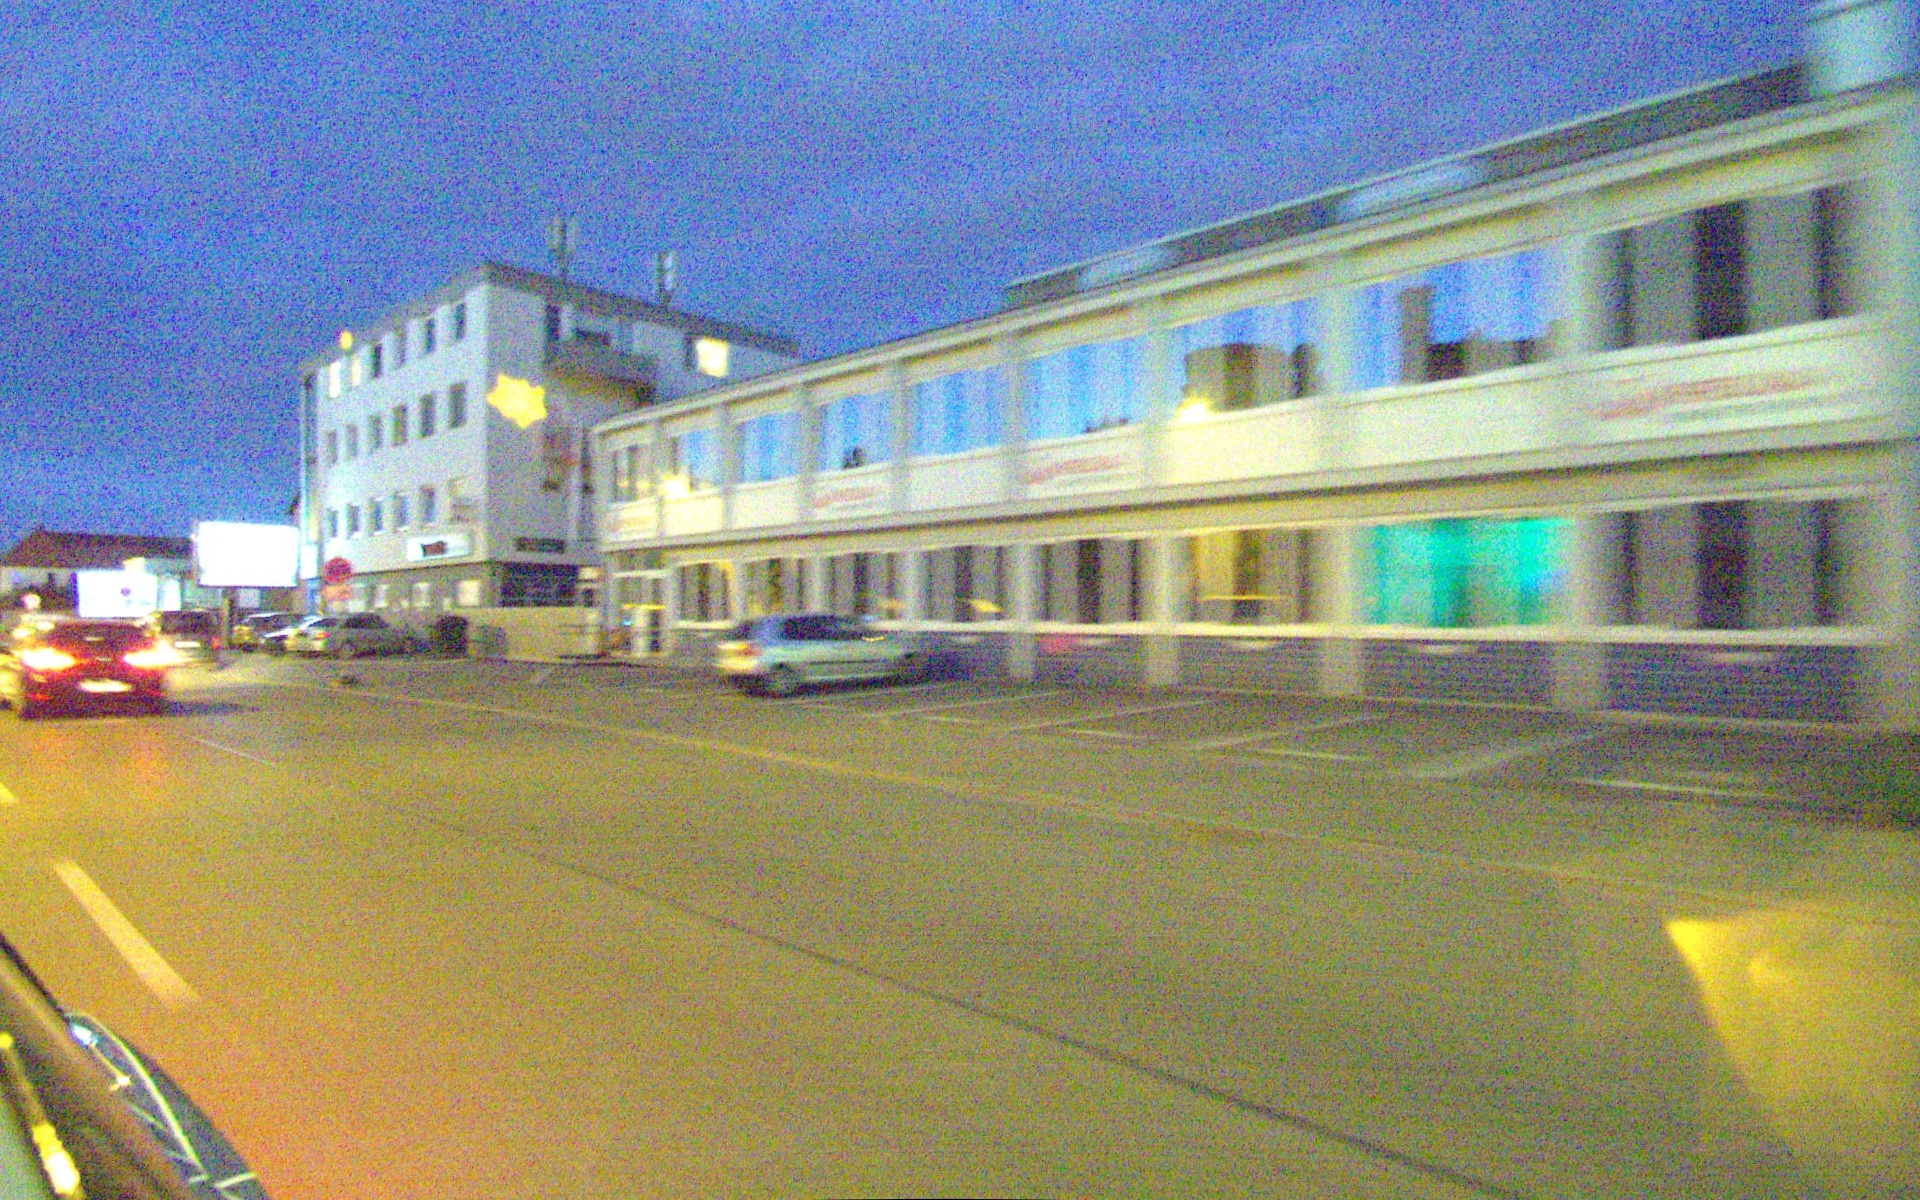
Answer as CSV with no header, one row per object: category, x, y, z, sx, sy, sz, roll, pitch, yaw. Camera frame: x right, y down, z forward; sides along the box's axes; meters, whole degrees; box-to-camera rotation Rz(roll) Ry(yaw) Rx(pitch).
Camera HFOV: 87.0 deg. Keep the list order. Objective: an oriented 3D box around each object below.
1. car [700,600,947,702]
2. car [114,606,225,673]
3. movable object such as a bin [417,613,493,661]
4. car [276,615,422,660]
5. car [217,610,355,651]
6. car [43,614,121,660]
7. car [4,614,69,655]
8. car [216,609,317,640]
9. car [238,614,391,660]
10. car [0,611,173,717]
car,-2.510,0.867,18.792,4.072,1.443,1.902,-4,1,-30
car,-23.650,1.150,30.224,4.412,1.863,1.794,-1,-2,41
movable object such as a bin,-16.748,1.210,33.570,1.609,1.511,1.837,-1,-1,42
car,-20.991,1.261,34.992,1.775,1.451,4.396,0,-1,13
car,-27.013,1.205,40.736,1.983,1.572,4.389,0,-1,17
car,-34.855,1.454,40.134,4.817,1.701,1.925,-2,-2,44
car,-43.083,1.593,47.186,4.877,1.812,1.785,-2,-2,42
car,-38.679,1.381,56.518,1.923,1.666,4.350,-2,-2,44
car,-23.253,1.298,36.696,1.980,1.563,4.652,0,-1,13
car,-13.897,0.909,15.785,3.998,1.431,1.838,-1,-1,41
